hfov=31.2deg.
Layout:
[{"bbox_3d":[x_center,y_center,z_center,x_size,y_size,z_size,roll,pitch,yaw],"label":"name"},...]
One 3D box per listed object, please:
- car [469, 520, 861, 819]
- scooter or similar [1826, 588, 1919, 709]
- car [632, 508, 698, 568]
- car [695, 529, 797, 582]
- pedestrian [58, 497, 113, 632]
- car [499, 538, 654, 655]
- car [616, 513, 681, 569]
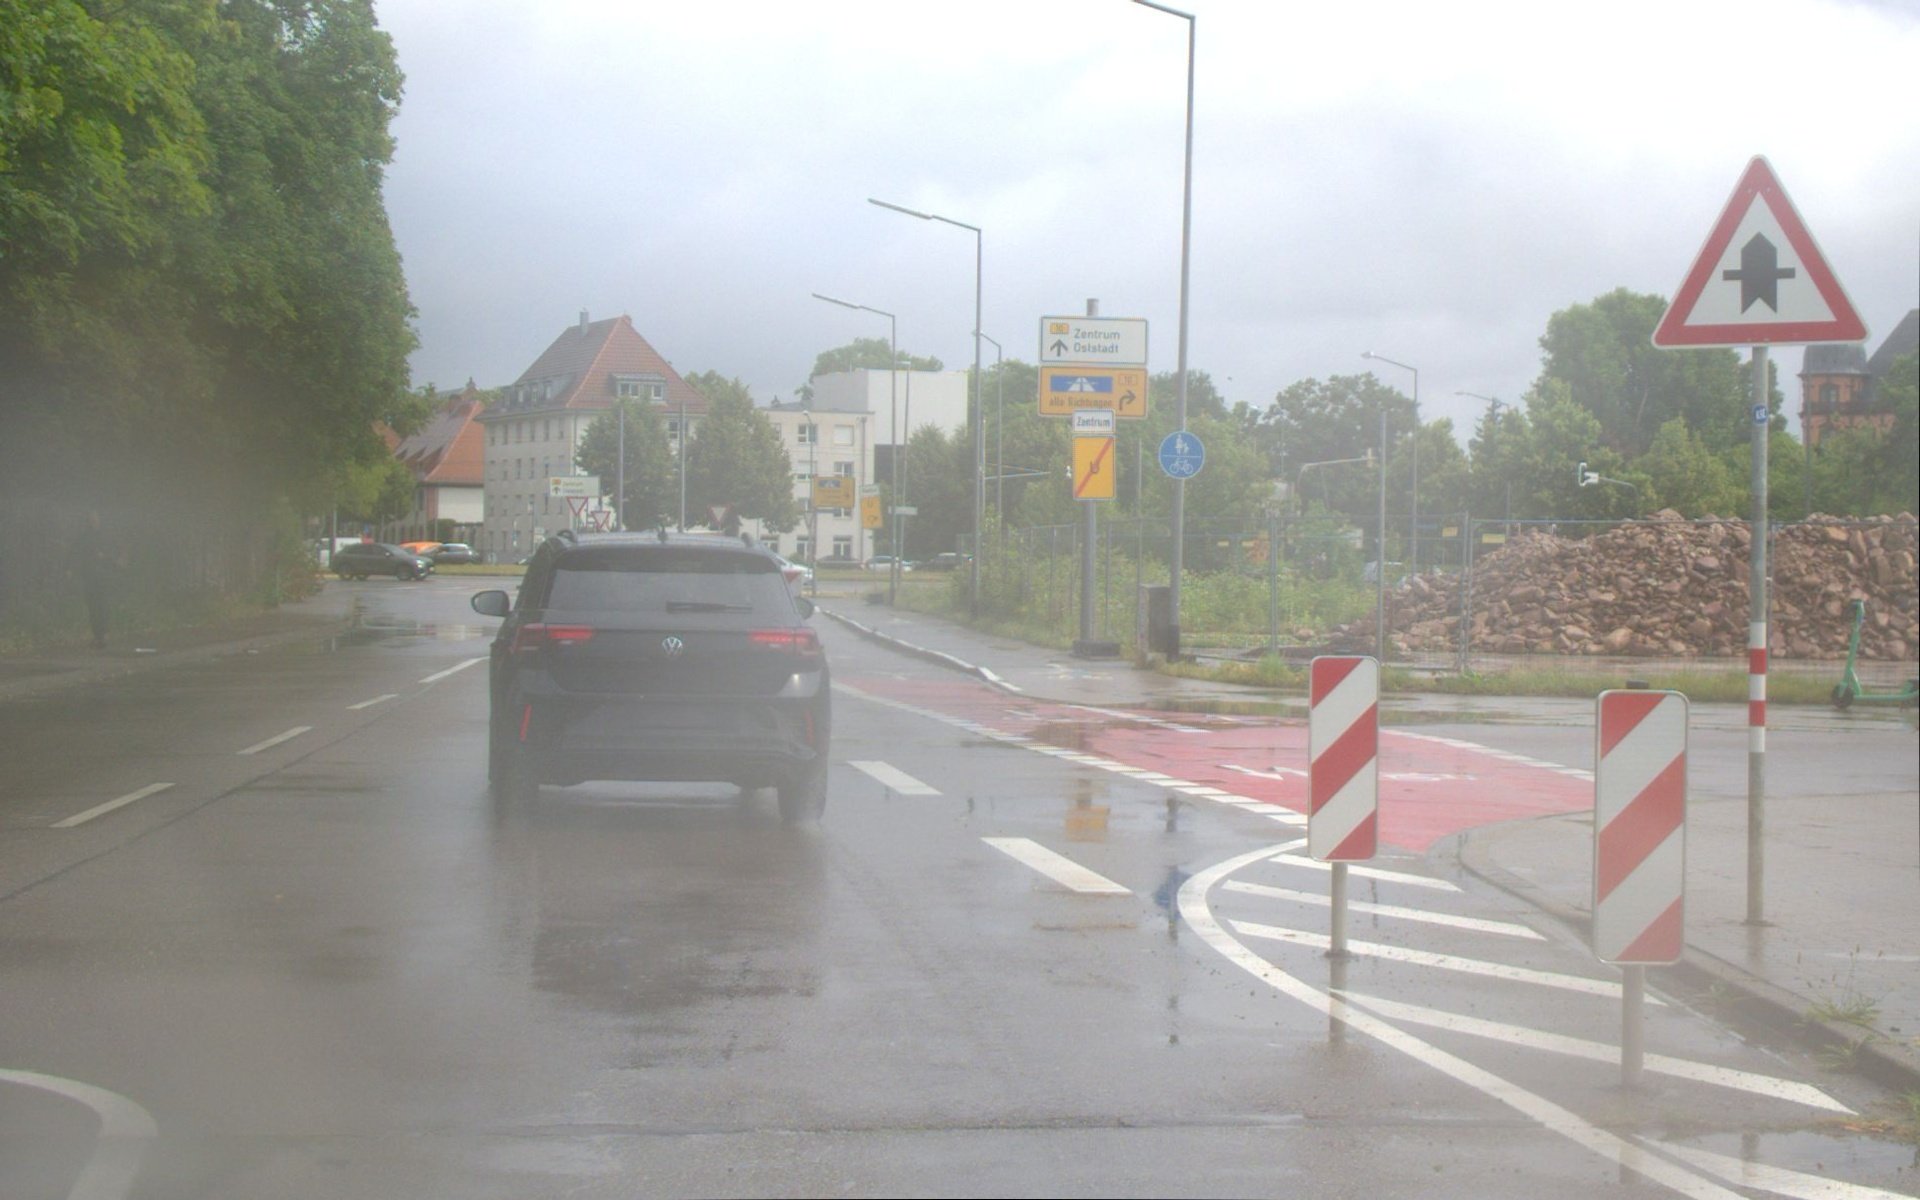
[{"bbox_3d":[-1.761,0.332,19.522,1.986,1.515,4.001,0,1,-8],"label":"car"},{"bbox_3d":[9.861,0.514,36.172,1.283,1.183,0.502,5,3,36],"label":"scooter or similar"},{"bbox_3d":[-8.443,-1.768,98.331,1.841,1.635,4.017,1,1,-5],"label":"car"},{"bbox_3d":[-8.717,-1.807,140.154,3.987,1.892,1.826,3,3,-2],"label":"car"},{"bbox_3d":[-11.324,-0.462,44.525,0.524,1.695,0.566,3,3,-5],"label":"pedestrian"},{"bbox_3d":[-5.057,-0.041,45.736,1.841,1.437,4.000,-1,0,-4],"label":"car"},{"bbox_3d":[-9.831,-1.856,108.515,1.996,1.697,4.017,1,1,-5],"label":"car"}]
